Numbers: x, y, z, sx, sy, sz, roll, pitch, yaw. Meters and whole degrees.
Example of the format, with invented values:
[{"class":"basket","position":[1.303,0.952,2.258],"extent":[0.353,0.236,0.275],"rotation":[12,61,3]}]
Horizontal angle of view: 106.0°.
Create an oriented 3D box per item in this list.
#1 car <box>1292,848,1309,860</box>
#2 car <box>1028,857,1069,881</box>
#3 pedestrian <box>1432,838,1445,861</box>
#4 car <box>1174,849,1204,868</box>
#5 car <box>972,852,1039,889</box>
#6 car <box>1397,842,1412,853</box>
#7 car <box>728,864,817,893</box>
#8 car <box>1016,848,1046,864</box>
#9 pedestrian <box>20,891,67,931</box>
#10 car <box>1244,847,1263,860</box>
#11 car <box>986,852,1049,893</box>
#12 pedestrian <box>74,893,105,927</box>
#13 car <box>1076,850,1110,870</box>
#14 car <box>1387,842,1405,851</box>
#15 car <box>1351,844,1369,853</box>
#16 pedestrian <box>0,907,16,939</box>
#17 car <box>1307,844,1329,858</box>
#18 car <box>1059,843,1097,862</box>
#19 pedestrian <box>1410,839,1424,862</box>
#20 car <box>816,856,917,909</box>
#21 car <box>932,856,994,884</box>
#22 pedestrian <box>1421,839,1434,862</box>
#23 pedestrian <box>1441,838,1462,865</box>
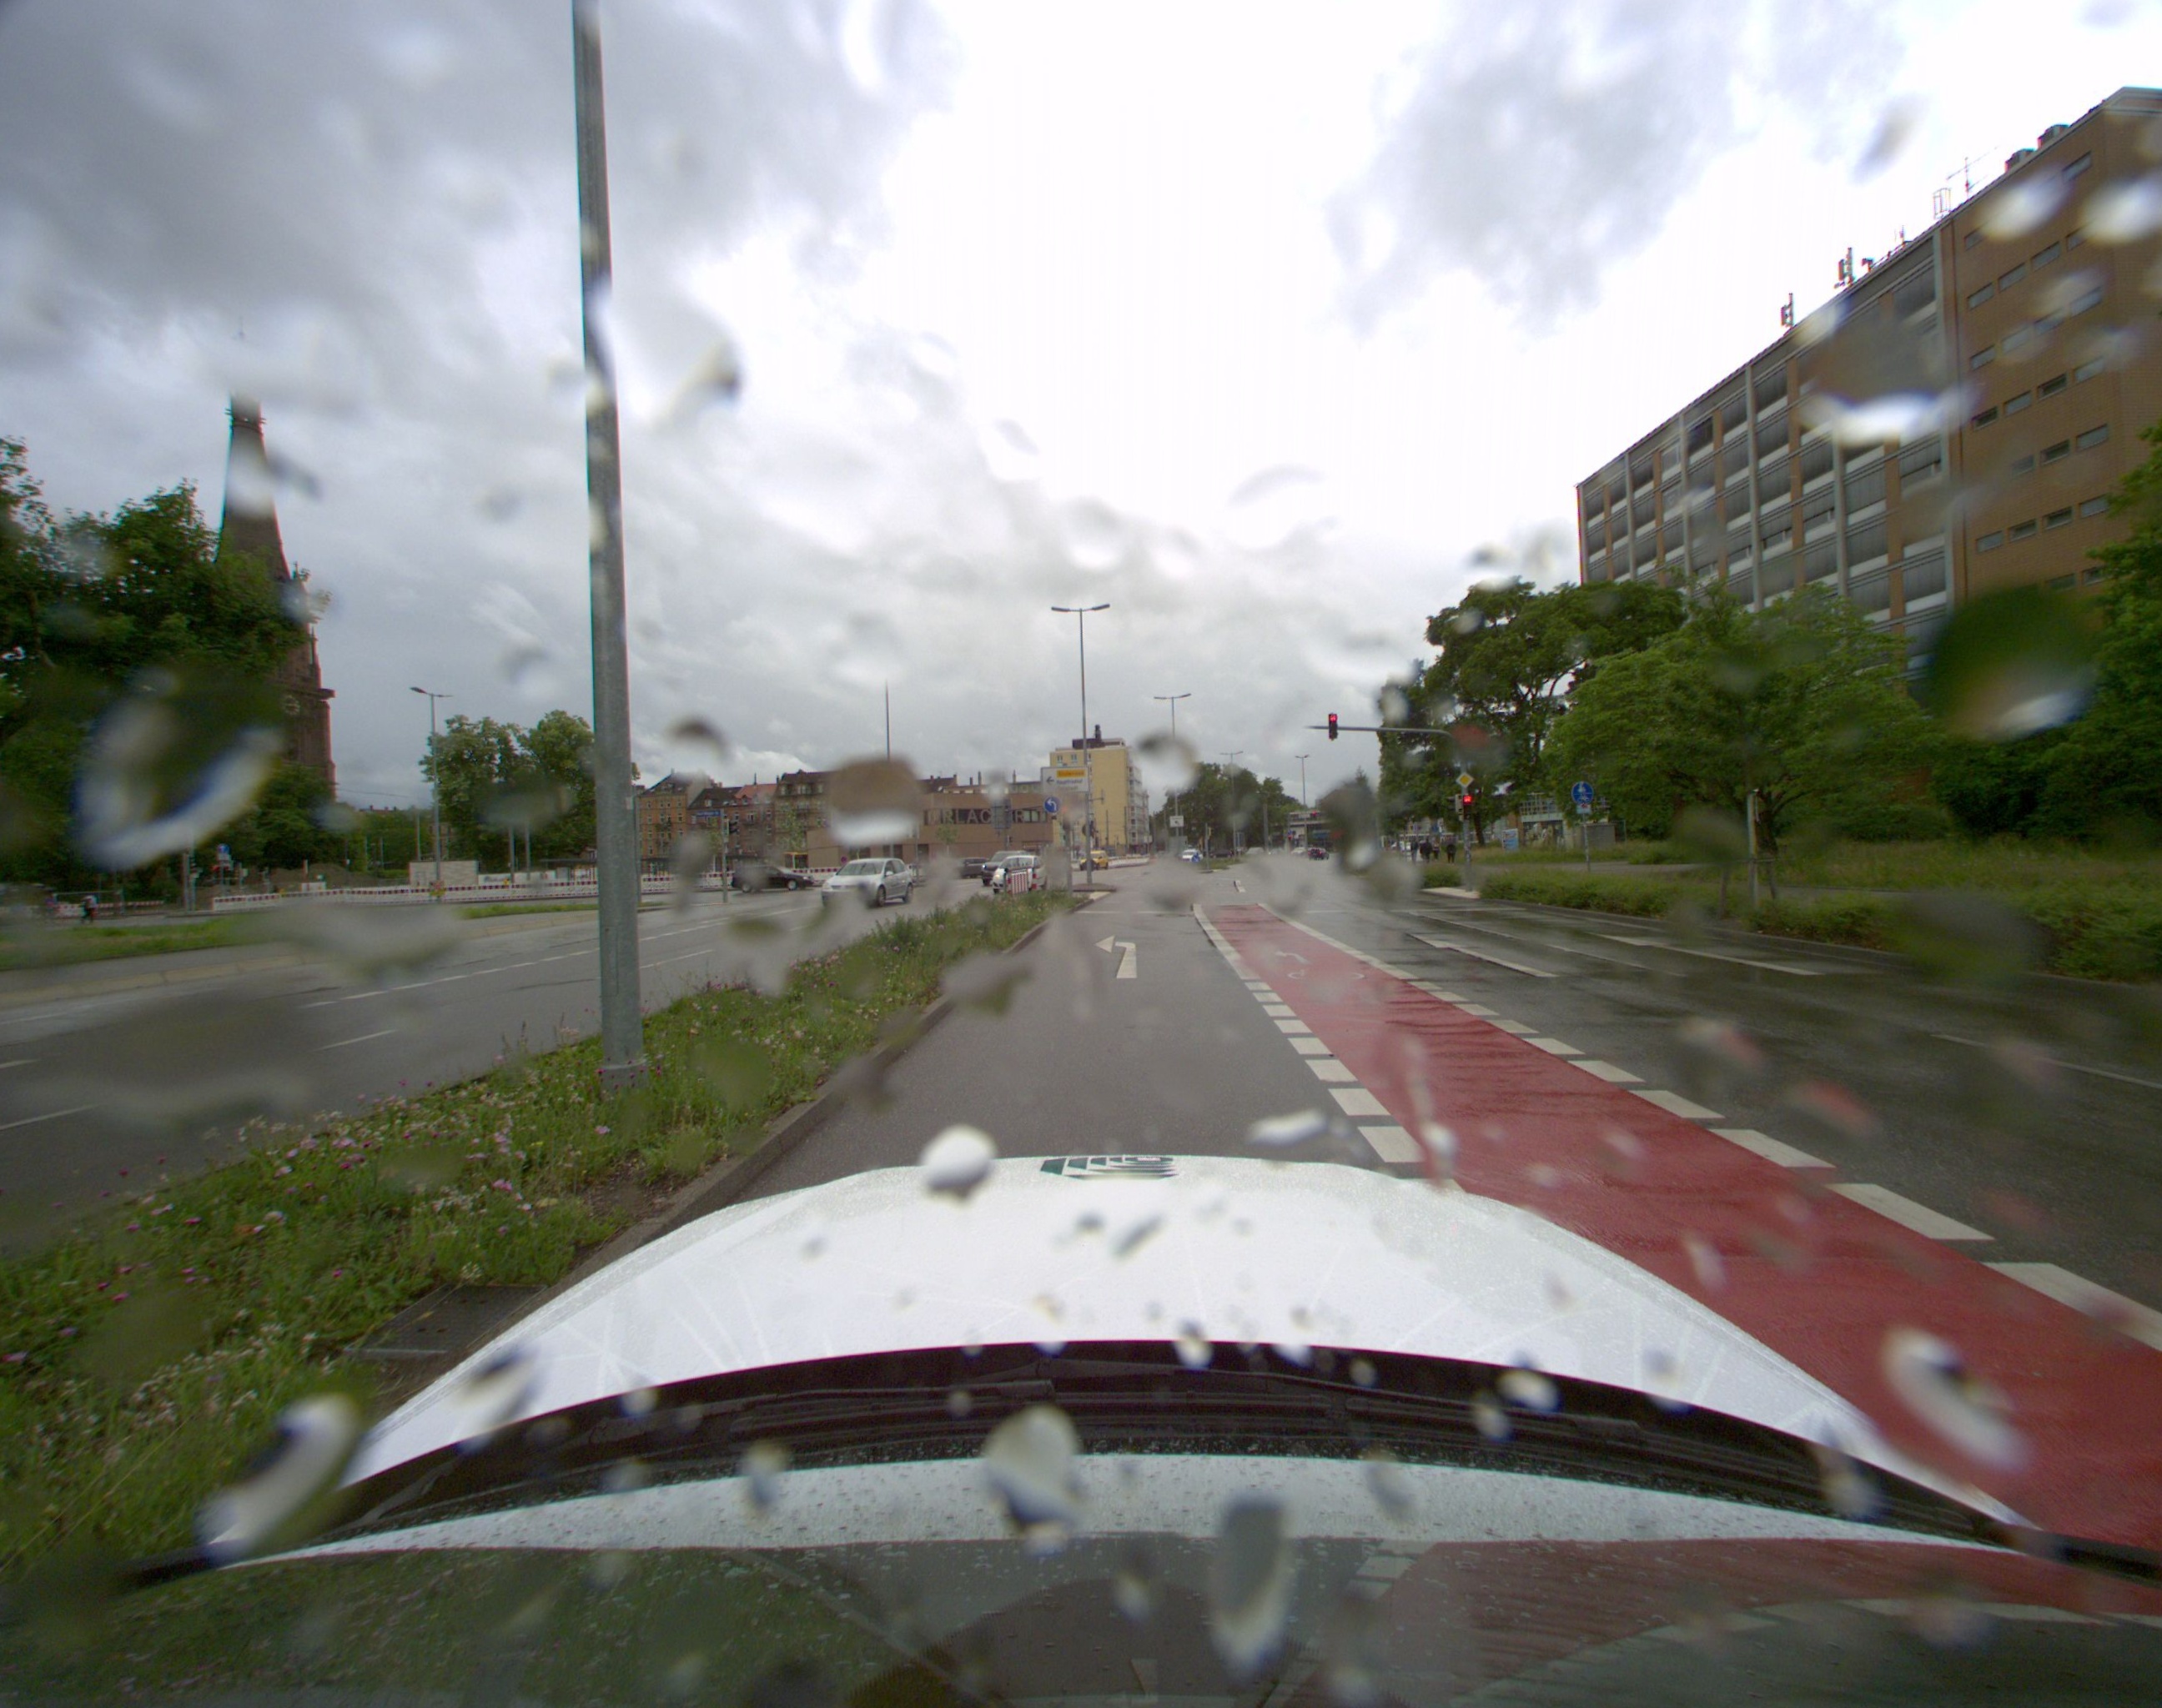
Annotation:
[{"class":"car","position":[35.047,-0.010,130.149],"extent":[1.678,1.415,4.210],"rotation":[-3,3,27]},{"class":"car","position":[-2.548,1.172,64.685],"extent":[1.691,1.706,4.482],"rotation":[-2,0,19]},{"class":"pedestrian","position":[25.101,-0.304,57.183],"extent":[0.697,1.588,0.940],"rotation":[-2,0,16]},{"class":"car","position":[11.181,0.476,83.870],"extent":[1.811,1.682,5.192],"rotation":[-4,0,21]},{"class":"car","position":[-3.792,0.798,41.720],"extent":[1.980,1.636,4.618],"rotation":[-4,0,12]},{"class":"car","position":[51.012,-1.099,128.338],"extent":[1.773,1.643,4.185],"rotation":[-2,0,27]},{"class":"car","position":[-16.881,1.341,44.722],"extent":[4.179,1.402,1.617],"rotation":[-2,0,-1]},{"class":"car","position":[-9.766,0.390,160.054],"extent":[5.320,2.887,2.345],"rotation":[-2,0,8]},{"class":"pedestrian","position":[-56.139,3.060,44.076],"extent":[0.998,2.013,1.300],"rotation":[-2,0,-21]},{"class":"car","position":[26.238,-0.104,123.788],"extent":[1.678,1.690,4.209],"rotation":[-3,2,26]},{"class":"car","position":[-2.518,0.714,33.280],"extent":[1.670,1.501,3.877],"rotation":[-3,0,8]},{"class":"pedestrian","position":[-53.726,3.019,44.136],"extent":[0.720,1.777,0.776],"rotation":[-2,0,5]},{"class":"car","position":[1.133,0.536,76.461],"extent":[1.690,1.706,4.176],"rotation":[-2,0,23]},{"class":"car","position":[67.462,-1.598,174.495],"extent":[4.183,1.858,1.774],"rotation":[-2,0,-43]},{"class":"car","position":[58.274,-1.121,170.215],"extent":[4.422,1.643,1.773],"rotation":[-2,0,-45]},{"class":"pedestrian","position":[-54.388,3.463,40.701],"extent":[0.933,1.539,1.053],"rotation":[-2,0,-21]},{"class":"car","position":[29.351,-0.401,100.809],"extent":[1.773,1.643,4.185],"rotation":[-2,0,27]},{"class":"car","position":[-0.564,-0.267,158.528],"extent":[6.703,3.380,2.816],"rotation":[-2,0,8]},{"class":"pedestrian","position":[23.359,-0.227,56.580],"extent":[0.748,1.588,0.940],"rotation":[-2,0,16]},{"class":"car","position":[-6.515,0.825,25.225],"extent":[1.671,1.404,4.163],"rotation":[-3,0,4]},{"class":"car","position":[-8.007,1.059,55.401],"extent":[3.842,1.706,1.690],"rotation":[-2,0,-45]},{"class":"pedestrian","position":[24.332,-0.271,57.169],"extent":[0.697,1.588,0.940],"rotation":[-2,0,16]},{"class":"pedestrian","position":[22.405,-0.158,49.286],"extent":[1.014,1.588,0.940],"rotation":[-2,0,16]}]
